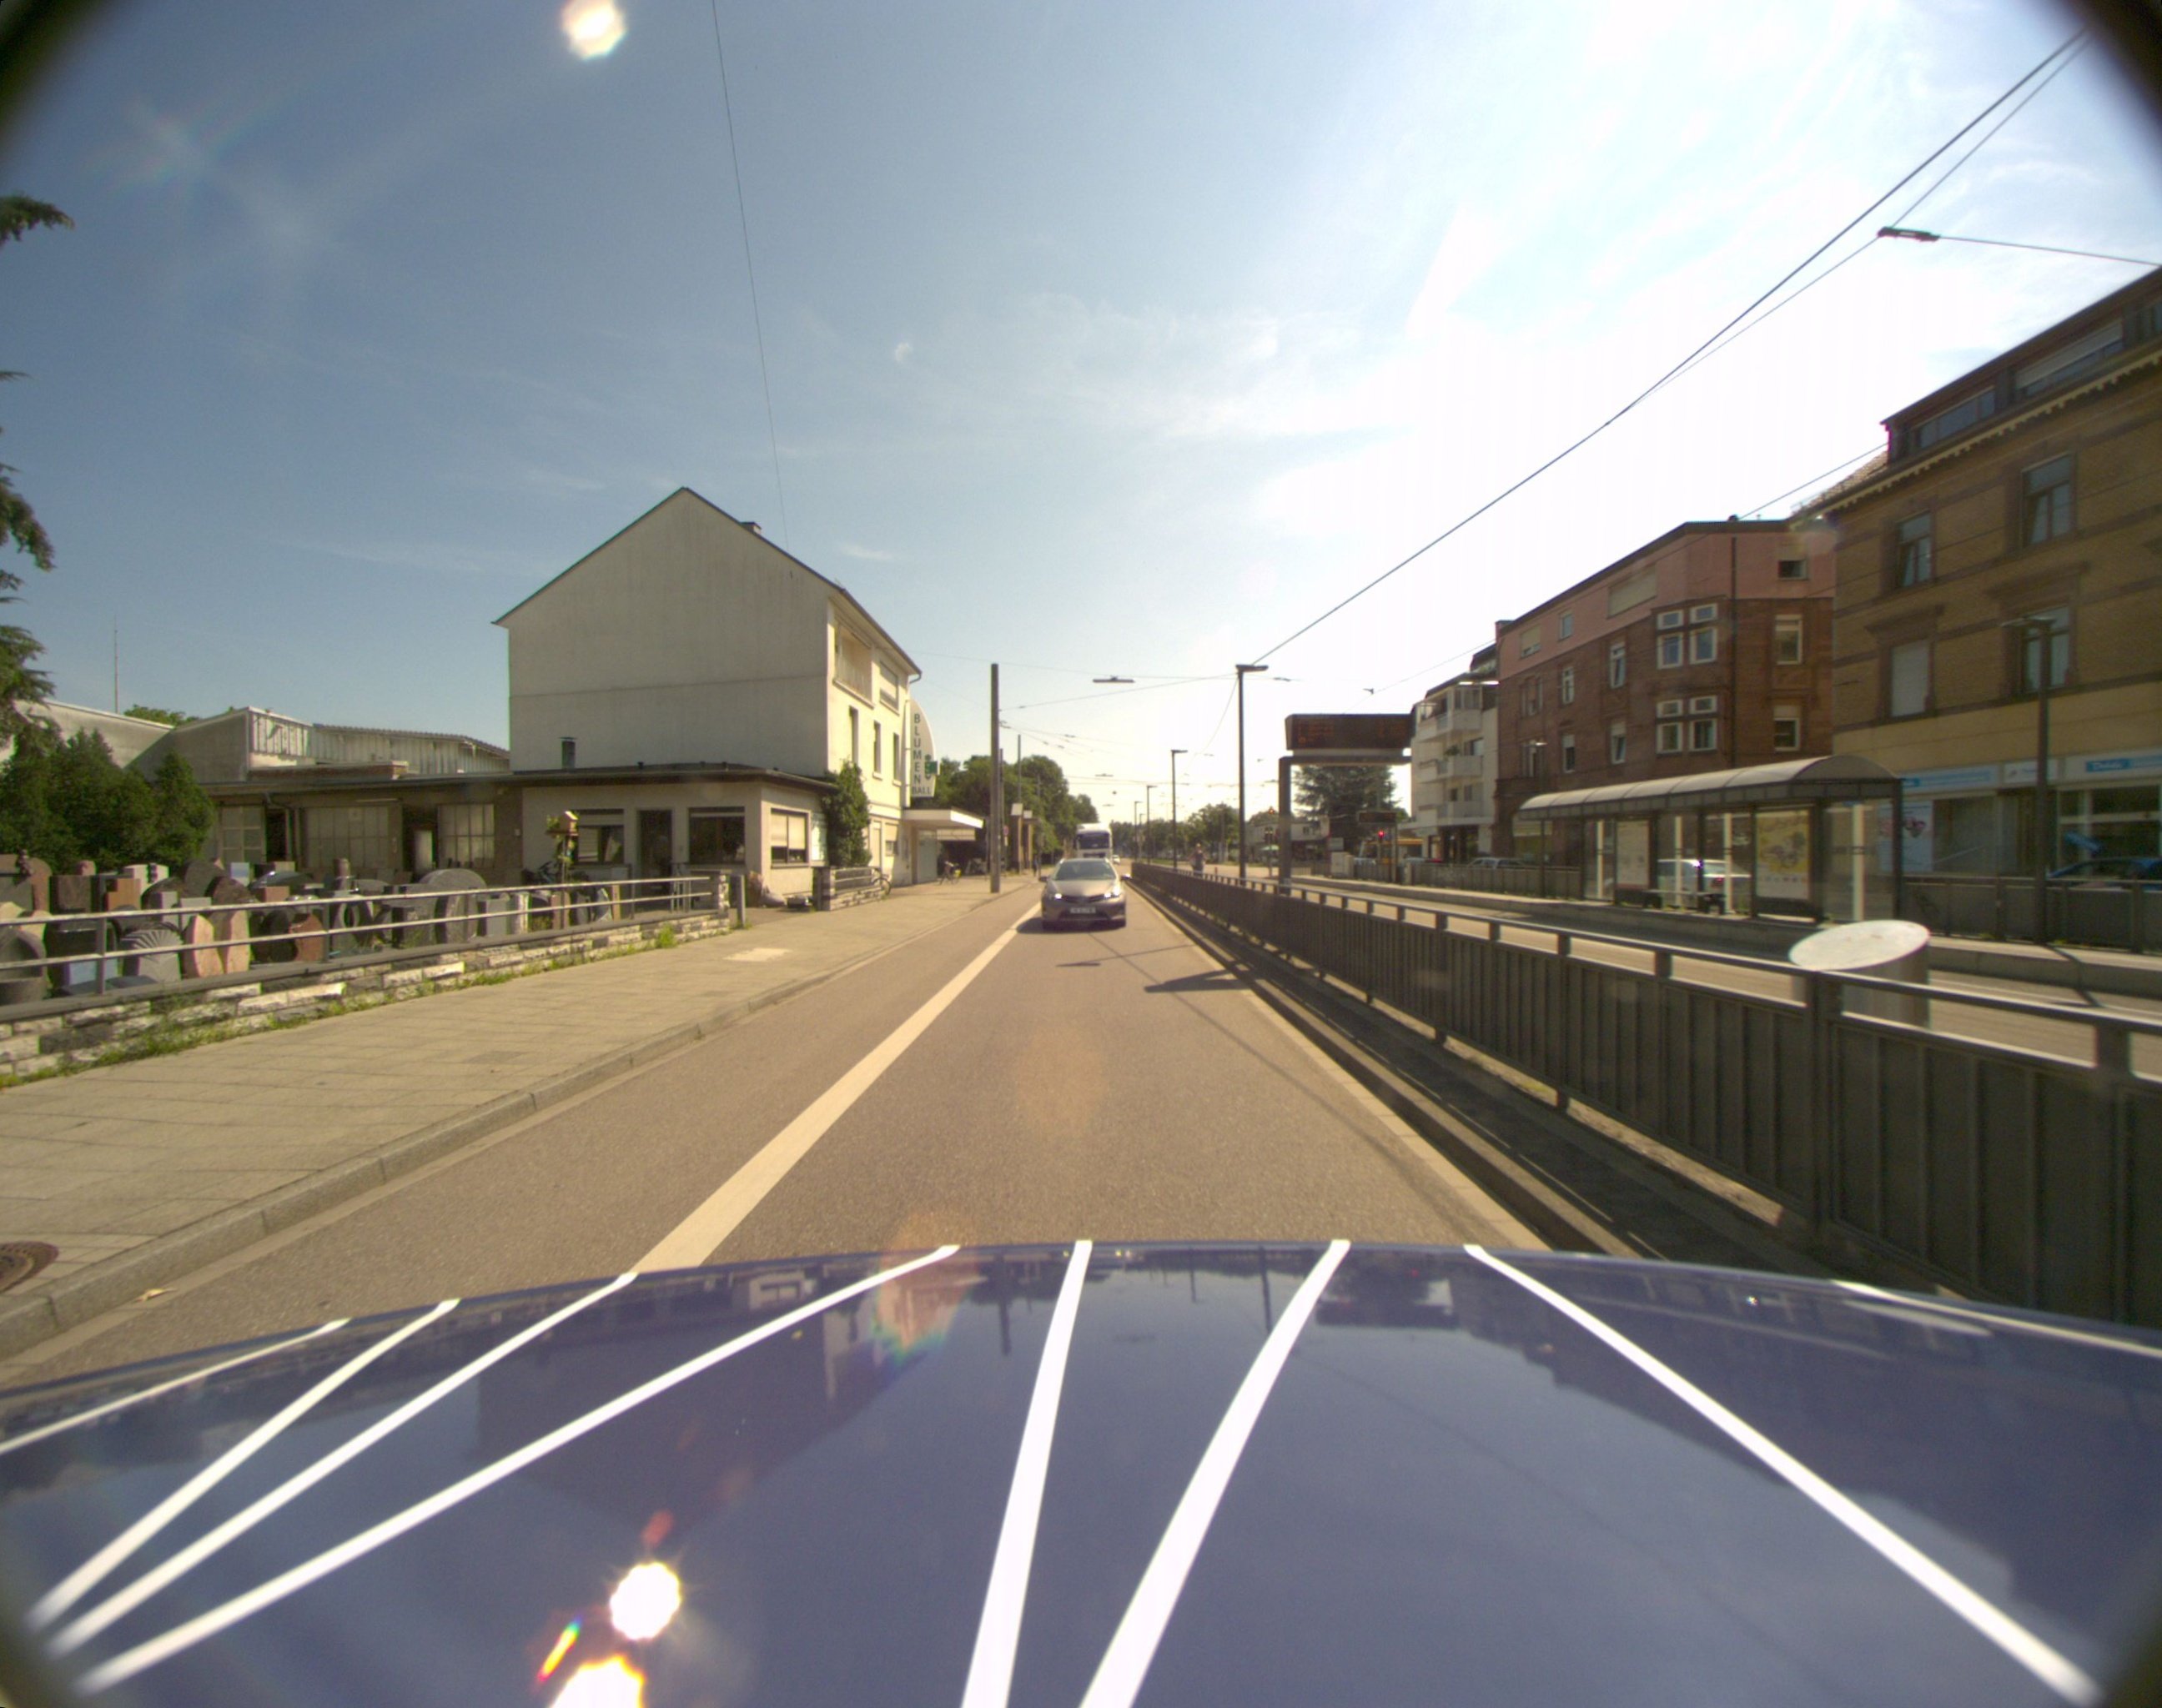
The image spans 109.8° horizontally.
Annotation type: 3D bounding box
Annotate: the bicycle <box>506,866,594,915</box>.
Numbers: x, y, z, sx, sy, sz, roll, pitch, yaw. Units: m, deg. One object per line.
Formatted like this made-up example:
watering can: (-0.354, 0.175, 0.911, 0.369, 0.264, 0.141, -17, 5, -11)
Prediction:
bicycle: (-12.637, 0.856, 18.097, 1.795, 1.104, 0.512, 1, 0, 5)

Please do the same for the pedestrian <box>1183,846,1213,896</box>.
pedestrian: (4.388, 0.616, 28.620, 0.983, 1.848, 1.237, 0, 1, 1)

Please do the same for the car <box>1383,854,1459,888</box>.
car: (16.584, 0.821, 37.276, 1.716, 1.507, 4.473, -2, 0, 0)

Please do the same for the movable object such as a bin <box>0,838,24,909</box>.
movable object such as a bin: (-32.132, 0.563, 21.606, 1.479, 2.066, 2.287, 0, 0, -25)

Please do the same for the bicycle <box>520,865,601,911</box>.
bicycle: (-13.115, 0.849, 19.159, 1.689, 1.104, 0.512, 1, 0, 3)

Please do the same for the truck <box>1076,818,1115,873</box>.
truck: (1.104, -0.577, 55.908, 2.657, 3.772, 7.863, 0, 0, 1)

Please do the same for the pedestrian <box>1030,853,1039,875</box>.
pedestrian: (-3.422, 0.750, 56.024, 0.499, 1.617, 0.500, 2, 1, 8)

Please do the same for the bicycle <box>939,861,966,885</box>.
bicycle: (-6.183, 0.911, 36.619, 0.511, 1.127, 1.693, 0, 0, 18)

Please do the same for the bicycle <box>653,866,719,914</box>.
bicycle: (-9.681, 0.856, 18.624, 1.686, 1.104, 0.515, 1, 0, 26)

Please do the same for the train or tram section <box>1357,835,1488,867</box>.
train or tram section: (38.353, -0.325, 85.628, 13.325, 3.460, 2.689, 0, 1, 3)

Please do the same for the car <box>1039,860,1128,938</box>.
car: (0.100, 0.900, 17.042, 1.695, 1.440, 4.481, -1, 0, 1)

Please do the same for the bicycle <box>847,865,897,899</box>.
bicycle: (-6.999, 0.919, 25.426, 1.530, 1.051, 0.398, 3, 1, 2)

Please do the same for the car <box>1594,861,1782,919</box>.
car: (16.674, 0.925, 21.219, 1.635, 1.355, 4.520, 0, 1, 0)

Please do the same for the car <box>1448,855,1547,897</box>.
car: (16.484, 0.832, 30.296, 1.716, 1.470, 4.081, -2, 0, 1)

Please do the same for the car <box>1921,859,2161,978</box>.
car: (16.247, 0.934, 12.151, 1.716, 1.613, 3.579, -1, 0, 1)

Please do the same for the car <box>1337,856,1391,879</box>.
car: (16.871, 0.768, 45.470, 1.716, 1.236, 4.079, -2, 0, 1)
